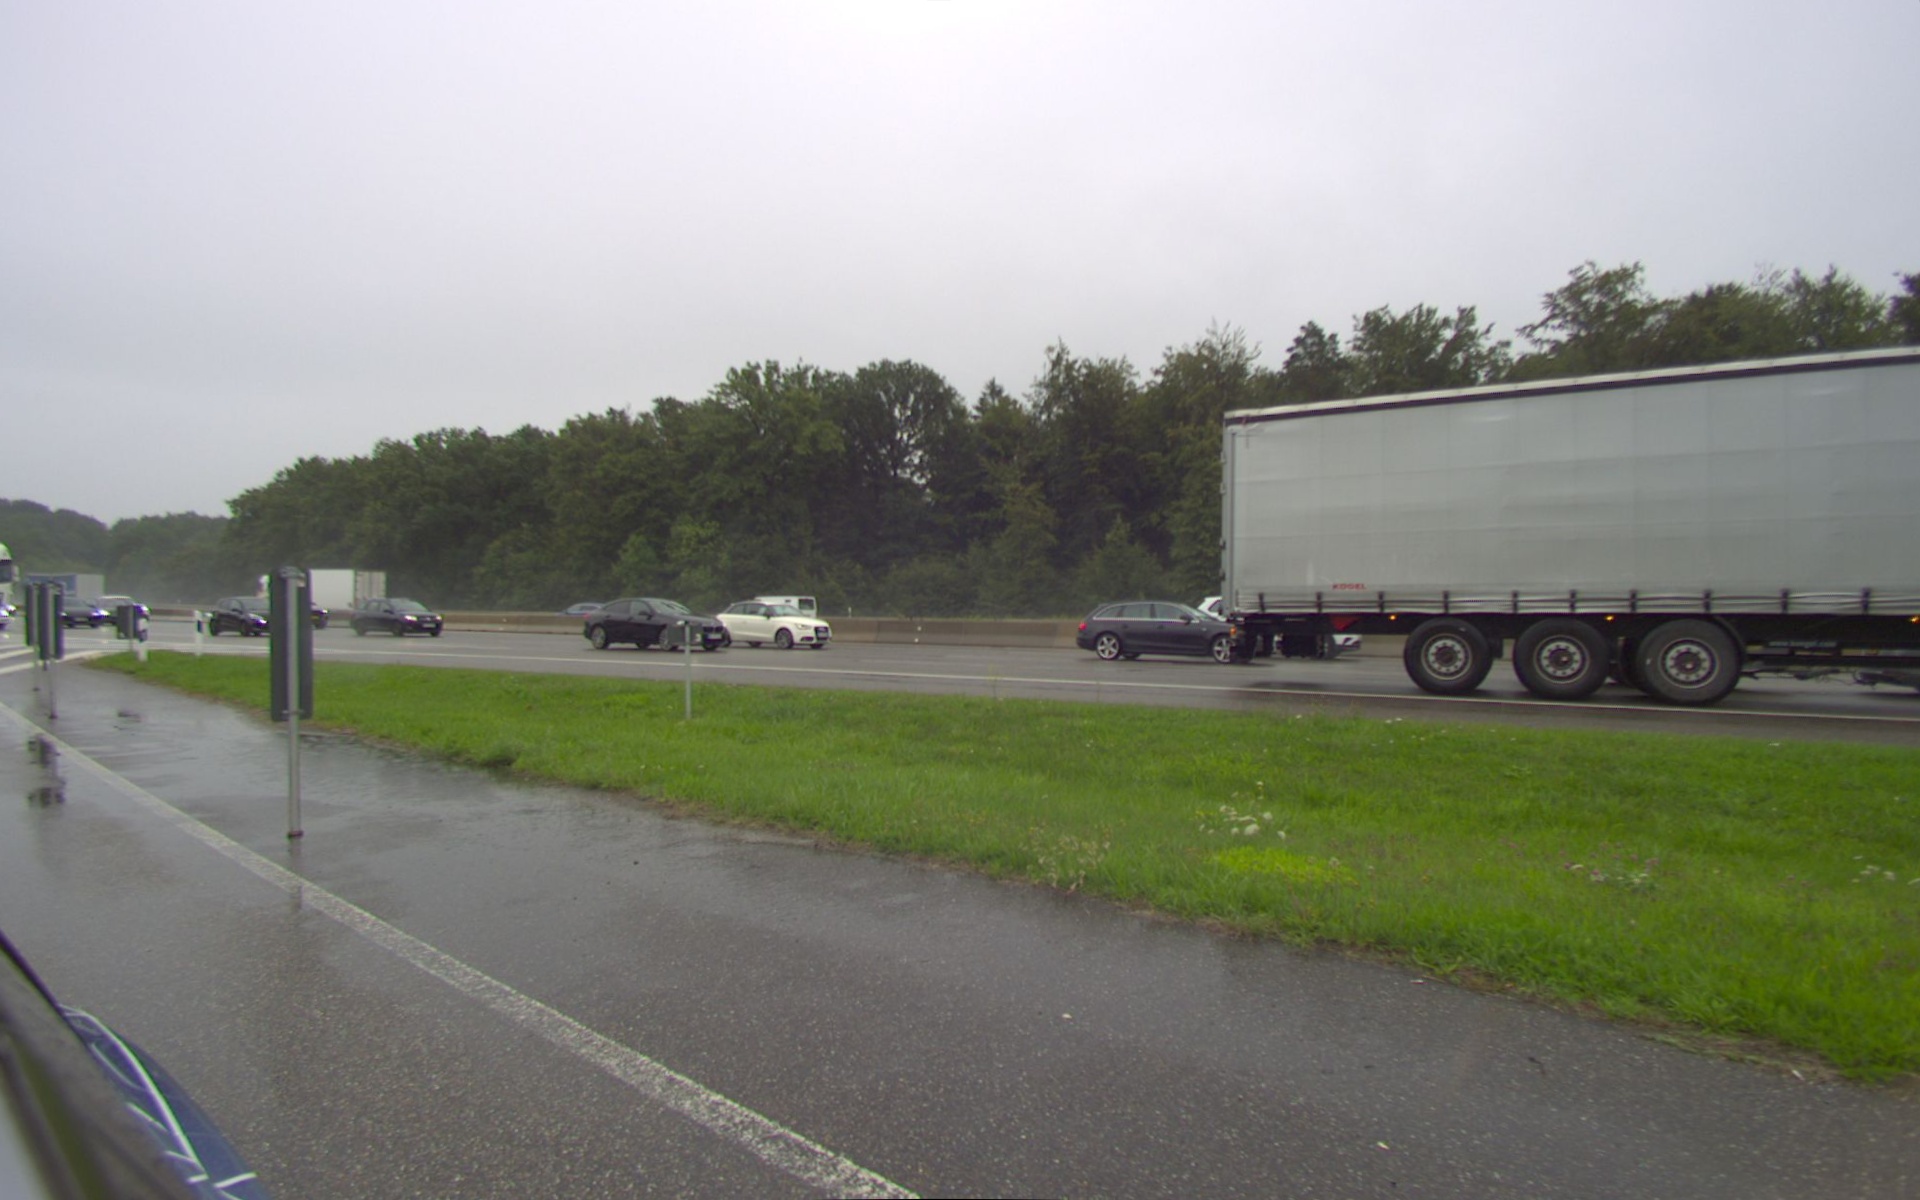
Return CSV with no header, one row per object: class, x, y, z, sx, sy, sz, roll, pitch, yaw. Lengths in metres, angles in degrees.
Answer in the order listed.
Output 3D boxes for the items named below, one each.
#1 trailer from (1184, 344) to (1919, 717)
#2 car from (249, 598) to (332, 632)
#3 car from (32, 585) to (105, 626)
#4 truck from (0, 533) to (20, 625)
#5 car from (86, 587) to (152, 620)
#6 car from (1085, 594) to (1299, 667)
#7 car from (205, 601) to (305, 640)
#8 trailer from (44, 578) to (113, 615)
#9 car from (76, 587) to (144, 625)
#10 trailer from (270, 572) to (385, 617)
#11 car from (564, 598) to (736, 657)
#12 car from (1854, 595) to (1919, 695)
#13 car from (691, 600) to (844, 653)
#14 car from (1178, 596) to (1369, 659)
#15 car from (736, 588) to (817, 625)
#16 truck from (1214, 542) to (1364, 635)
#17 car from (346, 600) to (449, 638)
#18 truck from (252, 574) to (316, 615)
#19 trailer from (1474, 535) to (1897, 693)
trailer,10.100,-0.709,12.642,14.060,4.013,2.875,0,-2,30
car,-34.501,0.749,52.123,4.388,1.681,1.805,0,-2,31
car,-43.120,0.266,48.926,3.990,1.918,1.746,-1,0,35
truck,-45.179,-0.882,45.379,6.483,4.039,2.731,-1,-1,30
car,-52.943,0.250,63.705,3.985,2.029,1.979,-1,-1,31
car,5.395,0.660,23.656,4.512,1.552,1.979,0,-1,31
car,-26.775,0.769,38.409,3.989,1.383,1.803,0,-1,34
trailer,-101.712,-0.463,116.704,9.130,4.076,3.070,1,4,30
car,-46.392,0.334,55.212,3.990,2.029,1.841,0,-1,35
trailer,-53.224,-0.406,84.924,13.441,3.524,2.628,0,0,32
car,-8.482,0.707,27.624,4.481,1.492,1.868,0,-1,28
car,15.251,0.631,13.577,4.563,1.358,1.833,0,-2,30
car,-5.878,0.781,30.747,4.486,1.492,1.866,0,-1,31
car,8.299,0.712,26.885,4.512,1.552,1.979,0,-1,31
car,-10.743,0.317,59.252,4.467,2.028,1.979,1,2,31
truck,14.136,-0.450,43.518,5.620,3.775,3.022,-1,1,29
car,-22.525,0.778,40.480,4.108,1.425,1.805,-1,-2,31
truck,-59.268,-0.424,88.737,5.583,3.478,2.626,0,0,32
trailer,11.123,0.234,16.108,5.159,2.172,2.114,0,-2,30
